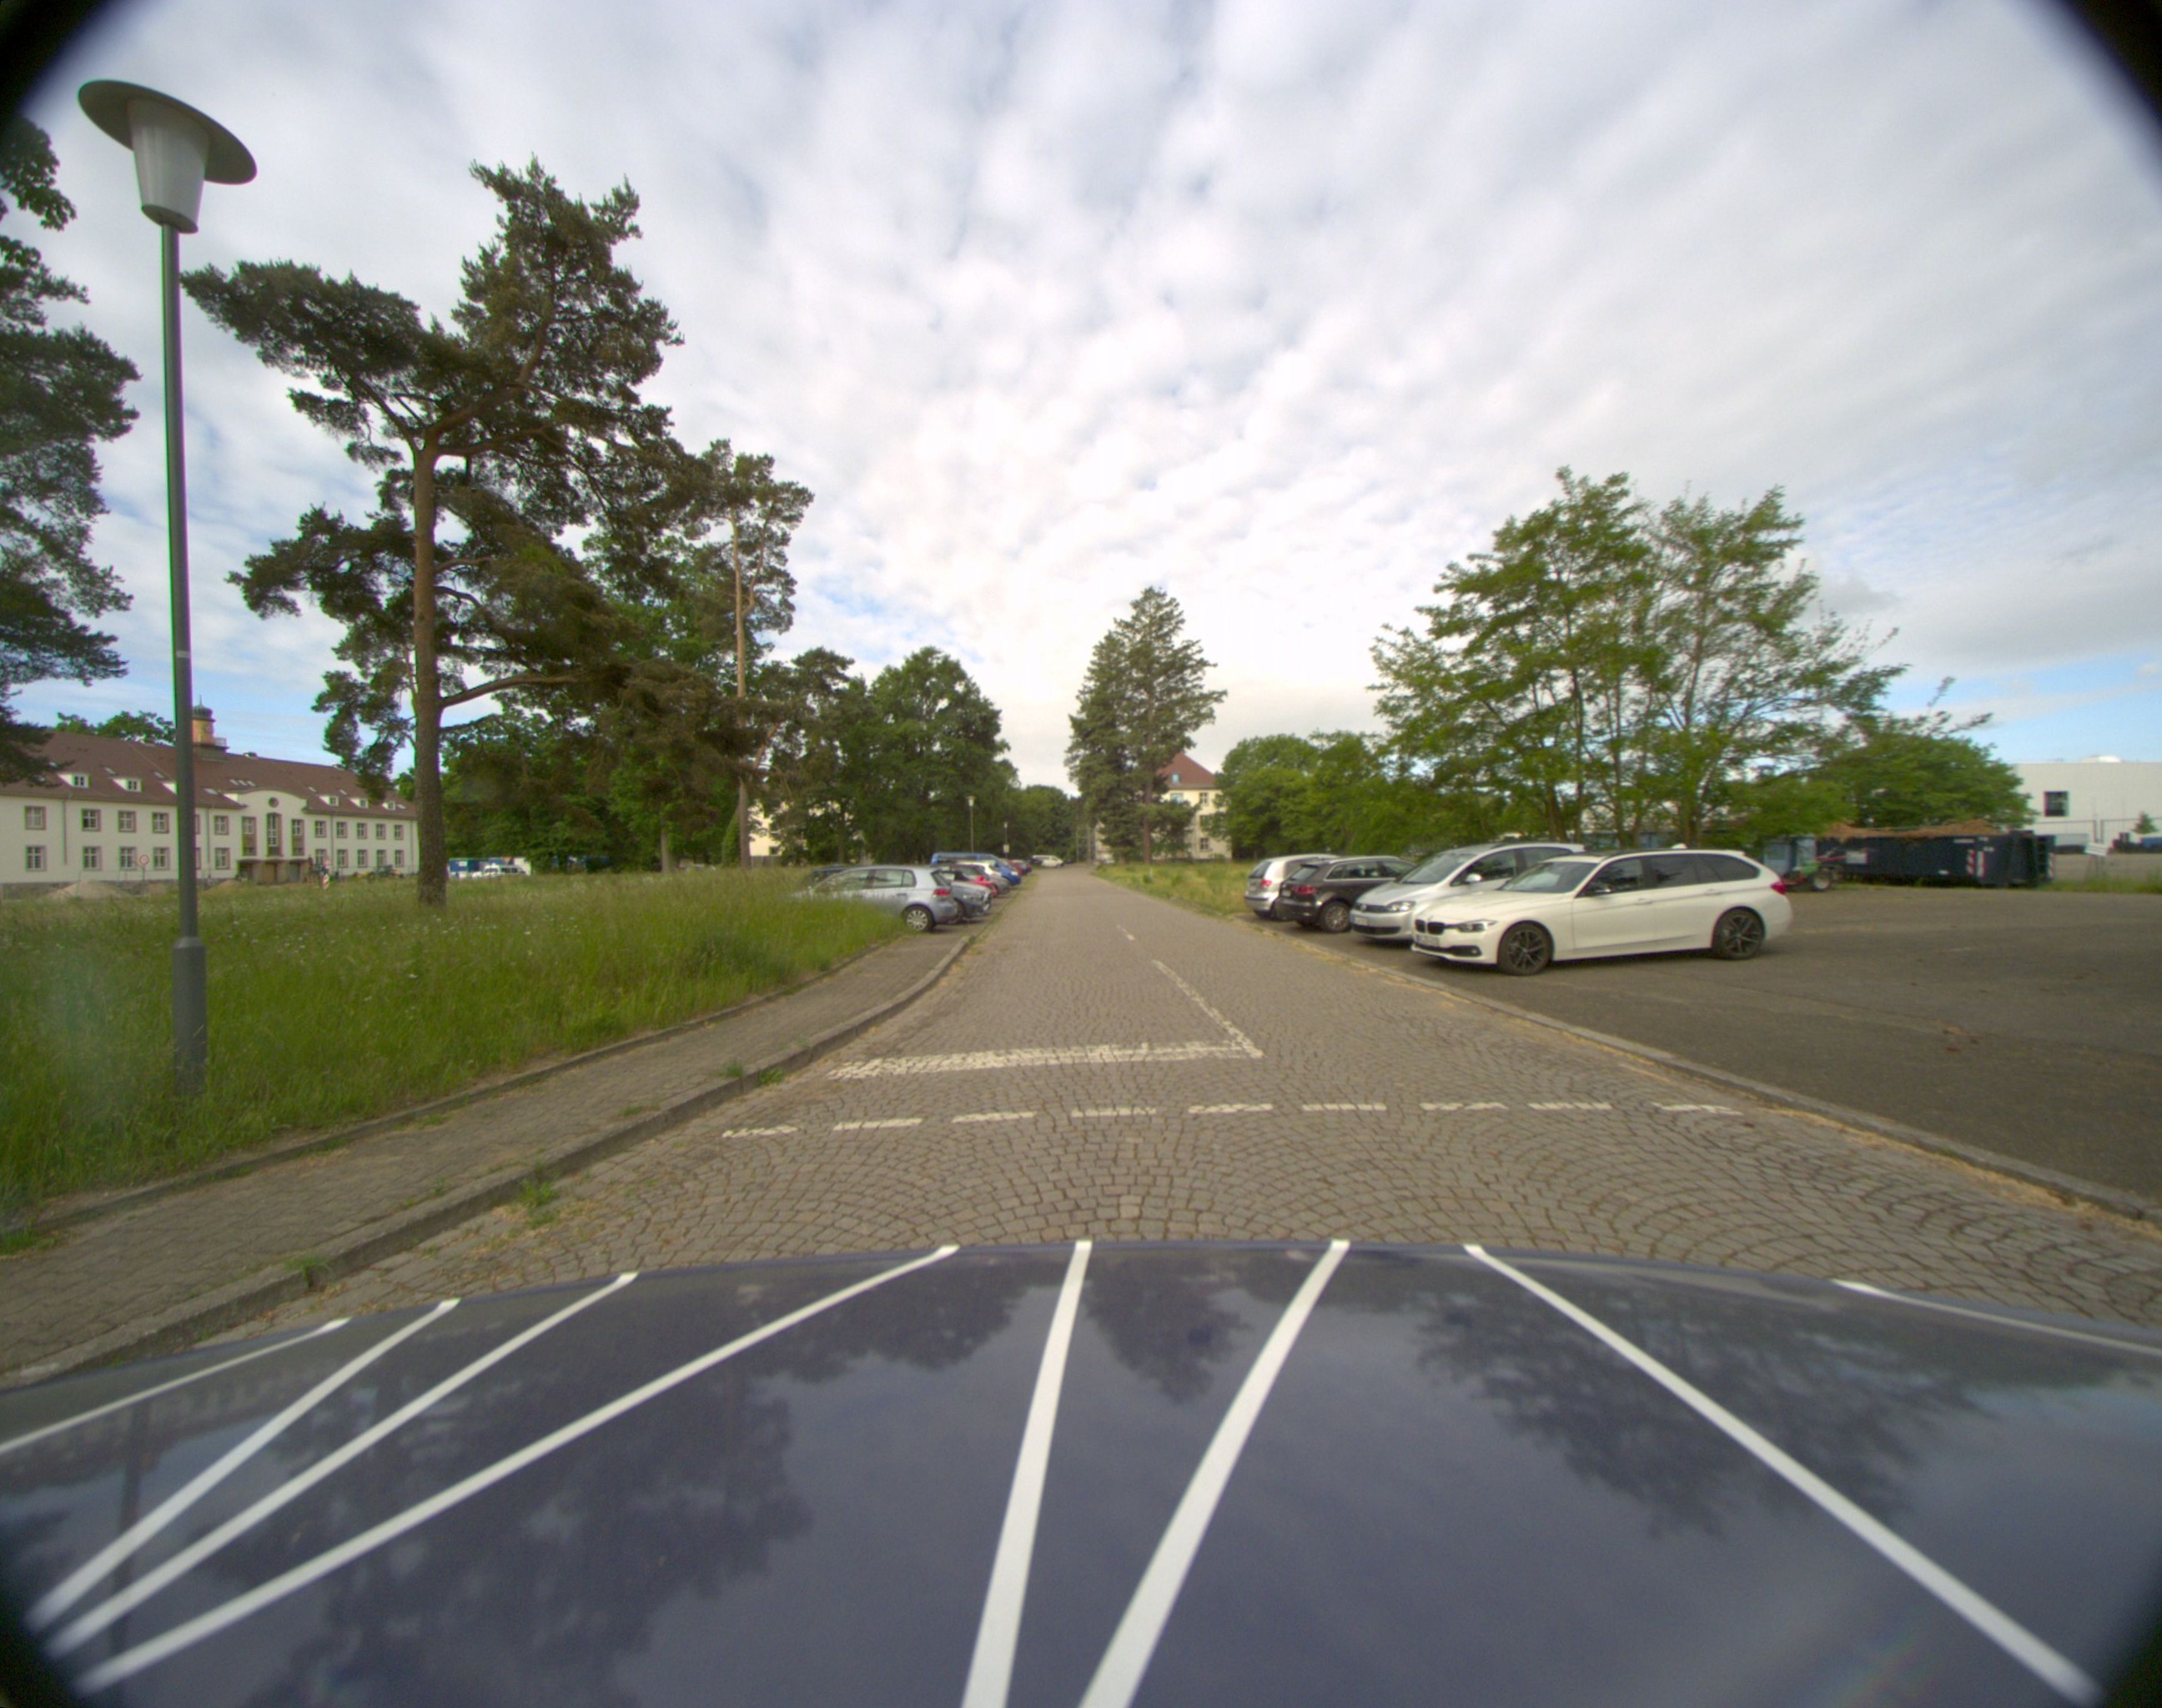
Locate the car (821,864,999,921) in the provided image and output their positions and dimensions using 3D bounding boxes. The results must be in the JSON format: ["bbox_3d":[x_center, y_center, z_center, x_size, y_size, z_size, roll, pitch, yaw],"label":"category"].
[{"bbox_3d":[-4.857,1.083,22.086,4.770,1.474,1.812,-1,0,-2],"label":"car"}]

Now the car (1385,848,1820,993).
[{"bbox_3d":[6.753,0.786,10.104,4.661,1.435,1.801,-3,1,-6],"label":"car"}]

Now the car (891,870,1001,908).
[{"bbox_3d":[-4.671,1.200,26.606,3.600,1.200,1.494,-1,0,-1],"label":"car"}]

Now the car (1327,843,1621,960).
[{"bbox_3d":[6.411,0.720,12.620,3.999,1.538,1.723,-3,1,-7],"label":"car"}]

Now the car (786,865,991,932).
[{"bbox_3d":[-4.726,1.074,19.220,4.771,1.474,1.761,-1,0,-5],"label":"car"}]

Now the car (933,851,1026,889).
[{"bbox_3d":[-5.331,0.838,40.450,4.750,1.928,1.999,0,0,-2],"label":"car"}]

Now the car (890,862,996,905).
[{"bbox_3d":[-5.251,1.116,29.312,3.787,1.497,1.798,-1,0,-4],"label":"car"}]

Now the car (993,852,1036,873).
[{"bbox_3d":[-6.451,0.845,74.343,3.997,2.002,2.000,-1,0,-1],"label":"car"}]

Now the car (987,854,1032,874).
[{"bbox_3d":[-6.541,0.950,69.941,4.008,1.752,2.000,-1,0,-1],"label":"car"}]

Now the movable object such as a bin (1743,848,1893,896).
[{"bbox_3d":[18.986,0.456,19.655,2.397,1.154,1.500,-1,0,3],"label":"movable object such as a bin"}]

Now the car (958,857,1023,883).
[{"bbox_3d":[-5.833,1.021,49.377,3.998,1.601,2.000,-1,0,-2],"label":"car"}]

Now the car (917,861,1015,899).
[{"bbox_3d":[-4.822,1.079,32.217,3.849,1.448,1.820,-1,0,0],"label":"car"}]

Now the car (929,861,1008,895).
[{"bbox_3d":[-5.150,1.081,35.030,3.409,1.443,1.637,-1,0,-1],"label":"car"}]

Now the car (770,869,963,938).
[{"bbox_3d":[-4.559,1.038,16.571,3.774,1.418,1.605,0,0,-3],"label":"car"}]

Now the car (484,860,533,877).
[{"bbox_3d":[-71.165,1.791,94.569,2.154,2.002,5.224,-1,0,1],"label":"car"}]

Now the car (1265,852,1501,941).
[{"bbox_3d":[5.966,0.799,15.303,3.998,1.419,1.750,-4,1,-3],"label":"car"}]

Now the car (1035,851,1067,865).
[{"bbox_3d":[-4.883,0.630,123.523,5.031,2.164,2.000,-1,0,0],"label":"car"}]

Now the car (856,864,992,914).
[{"bbox_3d":[-4.948,1.081,24.346,3.972,1.443,1.799,-1,0,-2],"label":"car"}]

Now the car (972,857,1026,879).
[{"bbox_3d":[-6.417,1.095,59.692,3.998,1.521,2.000,-2,0,-2],"label":"car"}]

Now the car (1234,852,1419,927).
[{"bbox_3d":[5.746,0.789,18.046,3.689,1.444,1.807,-4,1,-7],"label":"car"}]
